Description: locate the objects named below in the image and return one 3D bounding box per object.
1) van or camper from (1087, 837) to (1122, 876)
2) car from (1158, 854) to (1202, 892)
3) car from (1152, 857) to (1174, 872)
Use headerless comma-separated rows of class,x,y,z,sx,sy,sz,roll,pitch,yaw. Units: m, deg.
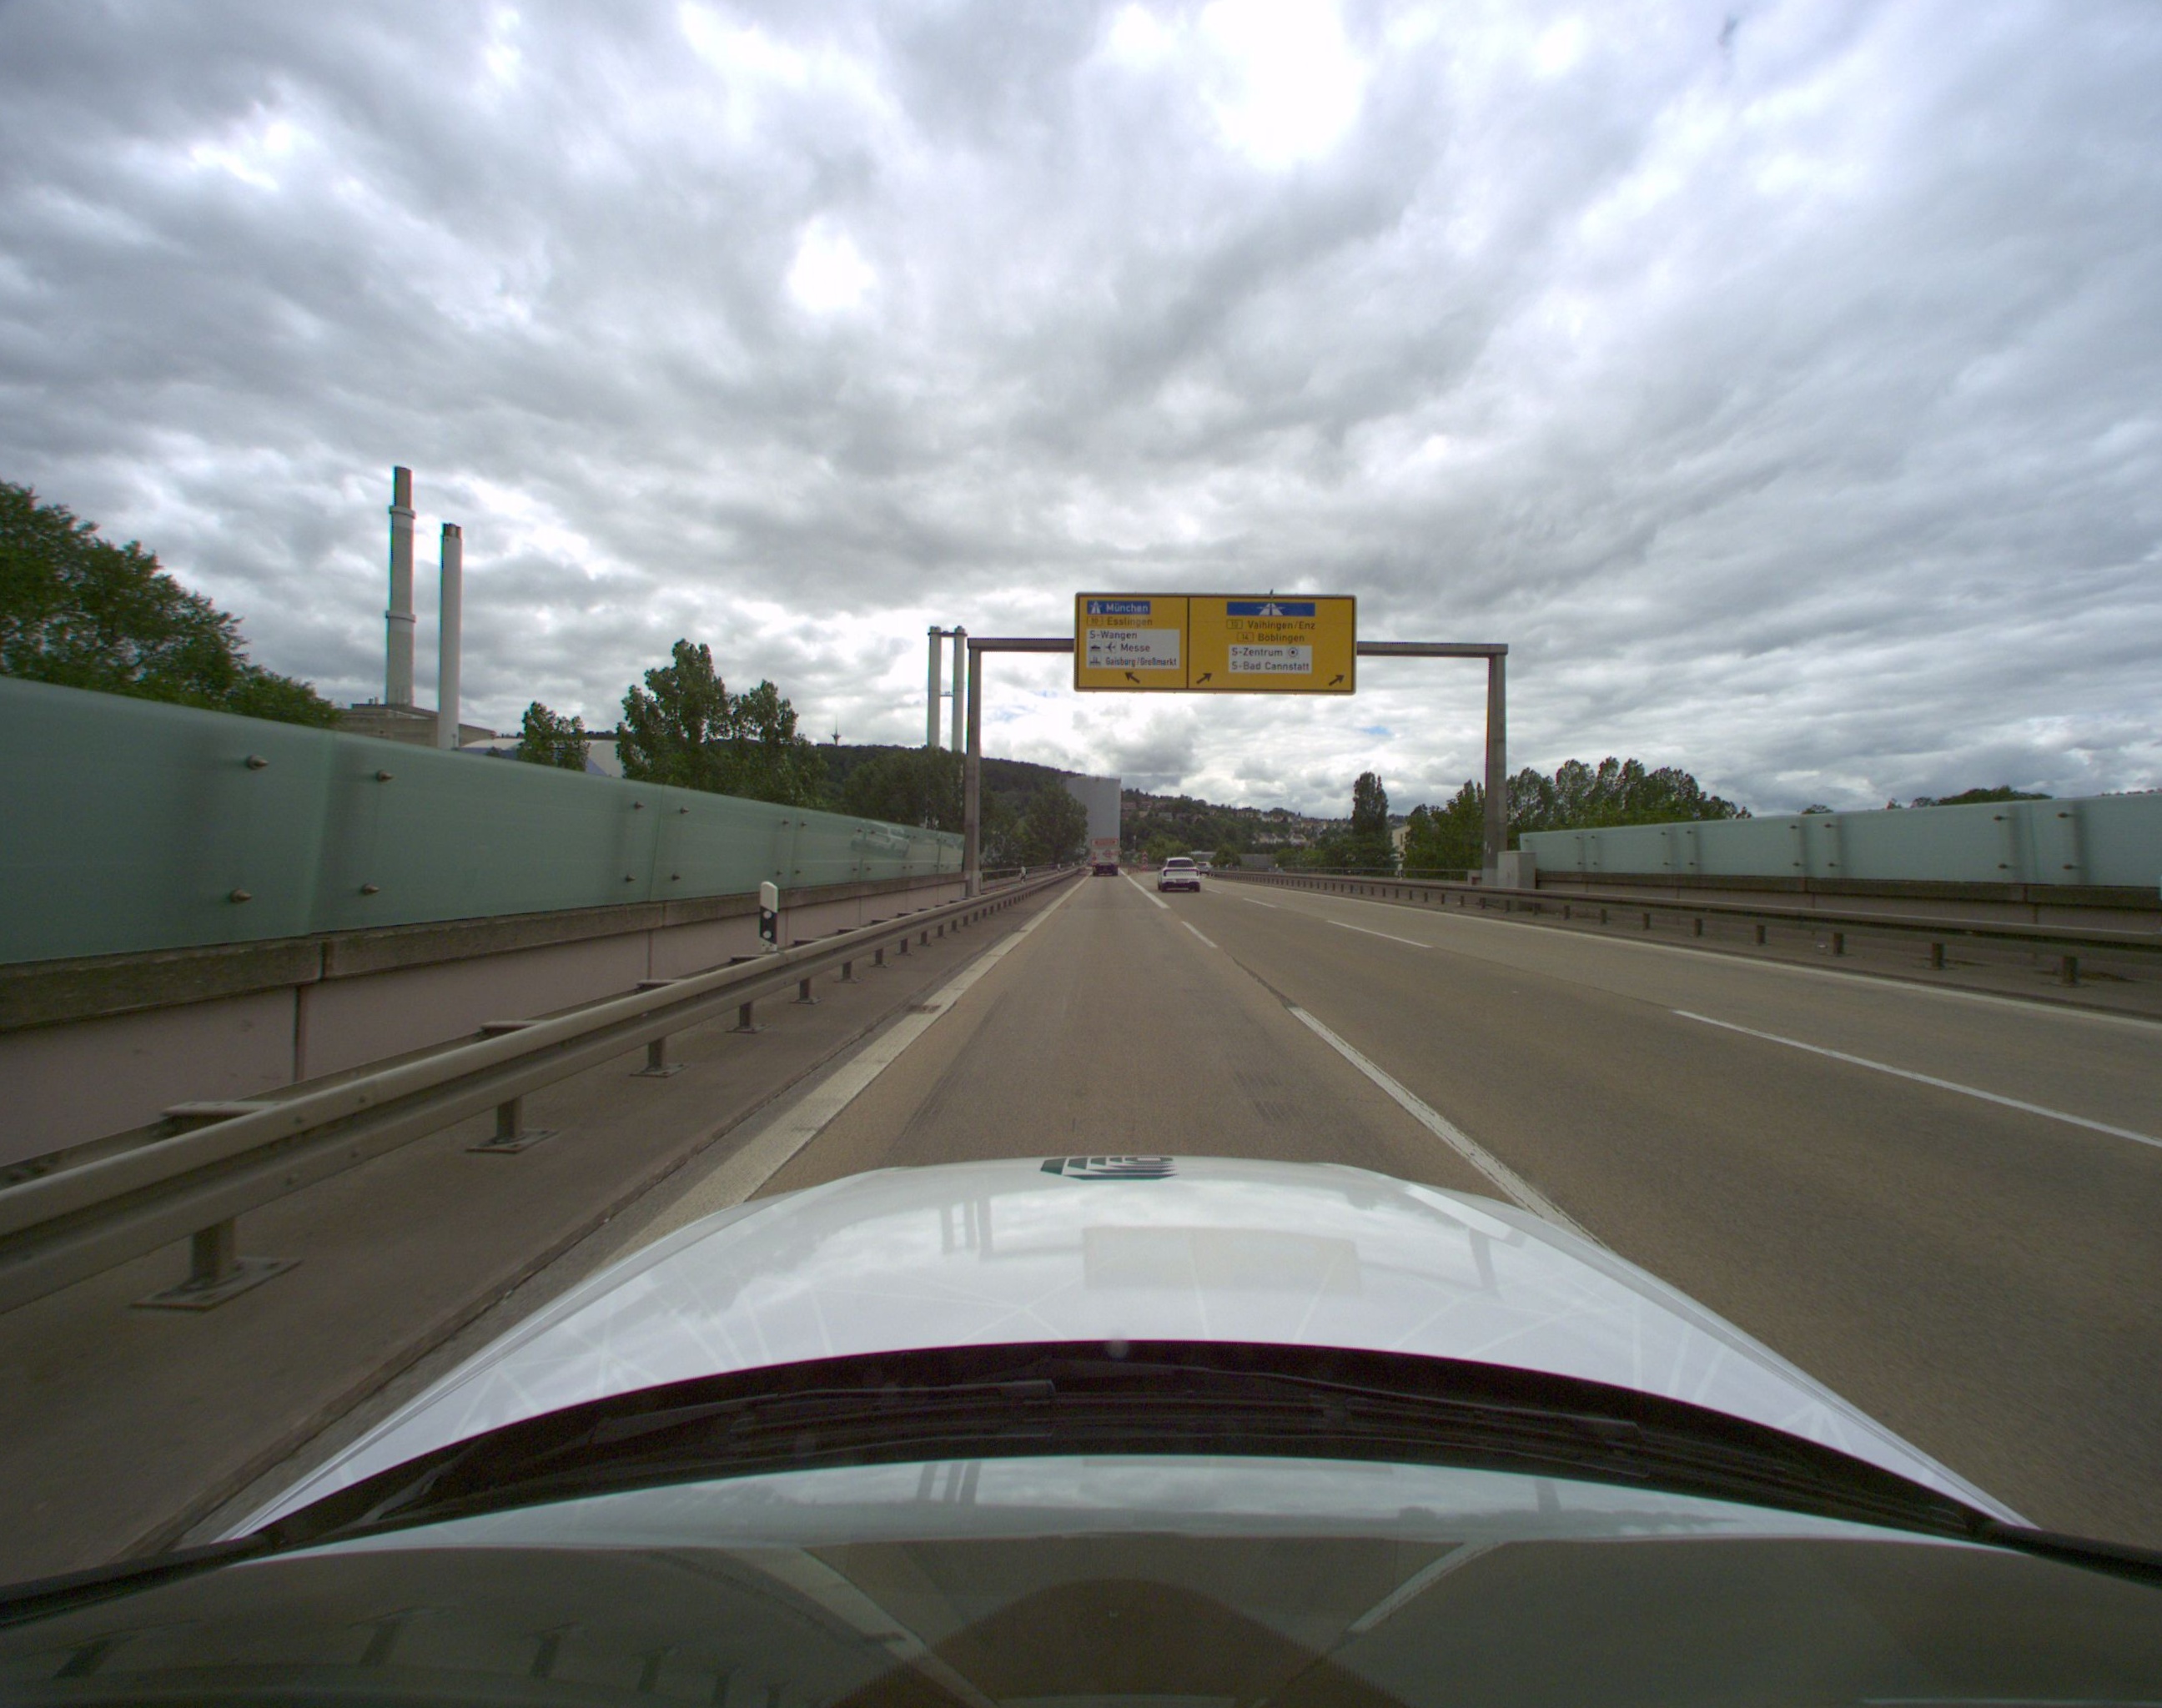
van or camper,2.352,0.247,78.976,3.109,3.579,8.555,-1,0,3
car,4.827,0.897,40.183,1.916,1.785,4.116,0,0,3
car,10.708,1.352,105.653,1.908,1.785,4.133,0,0,19
